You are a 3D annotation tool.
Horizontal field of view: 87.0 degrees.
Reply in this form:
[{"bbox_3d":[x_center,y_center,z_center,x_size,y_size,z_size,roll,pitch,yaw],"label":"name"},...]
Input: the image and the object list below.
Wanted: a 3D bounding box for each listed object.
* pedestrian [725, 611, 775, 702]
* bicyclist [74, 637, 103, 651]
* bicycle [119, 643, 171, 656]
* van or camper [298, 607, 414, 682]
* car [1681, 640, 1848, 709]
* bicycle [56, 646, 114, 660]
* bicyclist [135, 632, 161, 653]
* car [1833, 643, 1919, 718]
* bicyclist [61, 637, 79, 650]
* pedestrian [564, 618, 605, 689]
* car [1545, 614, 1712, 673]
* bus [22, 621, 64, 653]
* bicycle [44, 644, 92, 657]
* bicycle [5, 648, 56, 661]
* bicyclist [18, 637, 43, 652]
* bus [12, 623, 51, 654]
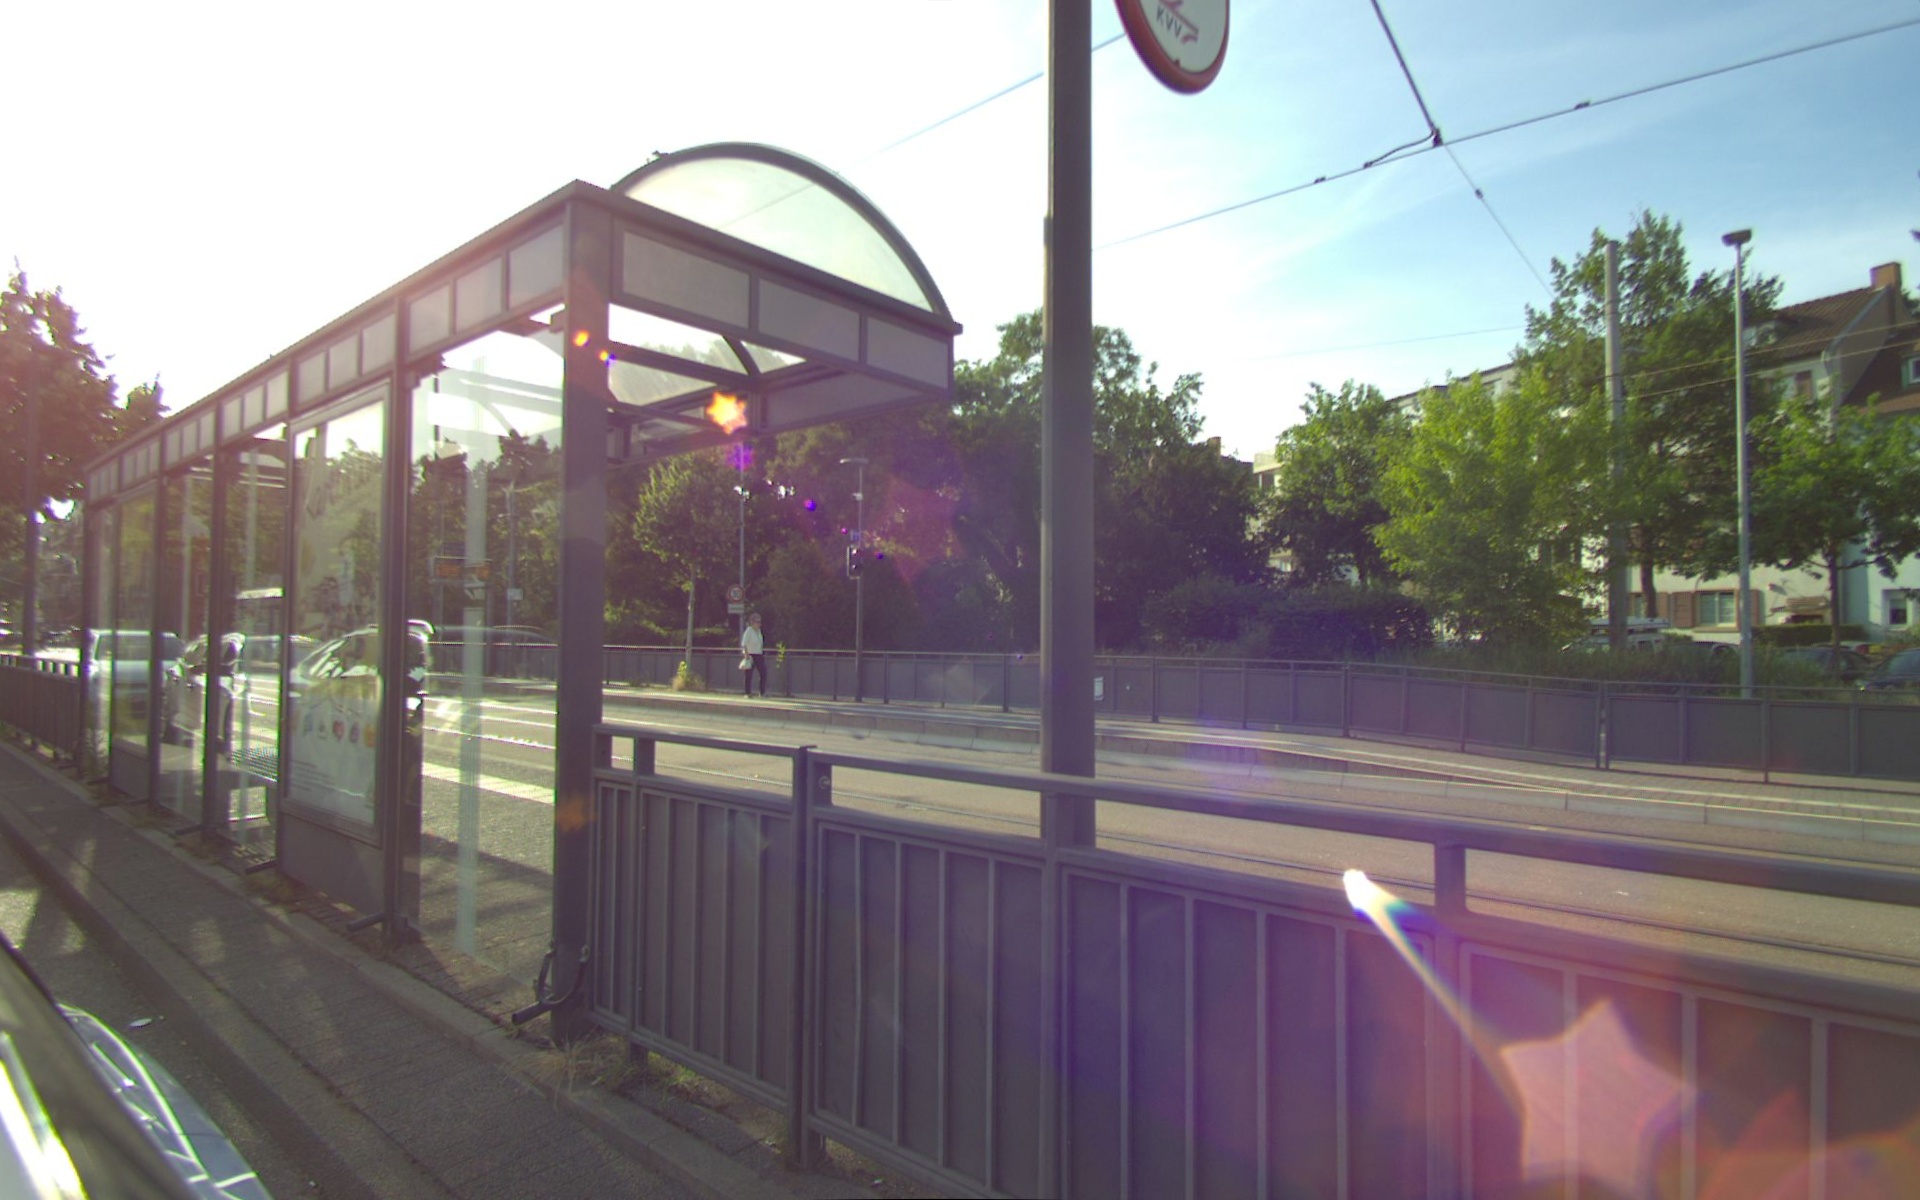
[{"bbox_3d":[-4.052,1.088,19.522,0.618,1.697,0.613,-2,-6,41],"label":"pedestrian"},{"bbox_3d":[-61.365,3.103,71.257,0.887,1.014,1.384,-2,-3,39],"label":"bicyclist"},{"bbox_3d":[-62.013,3.782,77.057,0.878,0.988,2.925,-2,-3,38],"label":"bicycle"},{"bbox_3d":[-26.274,1.832,43.882,6.408,2.990,2.494,-1,0,41],"label":"van or camper"},{"bbox_3d":[18.187,1.621,22.839,3.935,1.409,2.004,2,-3,-37],"label":"car"},{"bbox_3d":[-61.396,3.698,71.047,0.878,0.988,2.925,-2,-3,38],"label":"bicycle"},{"bbox_3d":[-61.928,3.256,77.179,0.887,1.559,1.384,-2,-3,39],"label":"bicyclist"},{"bbox_3d":[19.639,1.598,20.613,3.935,1.409,2.004,2,-3,-37],"label":"car"},{"bbox_3d":[-63.675,3.140,72.405,0.617,0.920,0.885,-2,-3,44],"label":"bicyclist"},{"bbox_3d":[-9.218,1.314,24.835,0.618,1.697,0.613,-2,-6,41],"label":"pedestrian"},{"bbox_3d":[18.112,1.194,27.442,3.930,1.497,1.854,1,-3,-22],"label":"car"},{"bbox_3d":[-102.739,4.090,113.334,9.258,3.461,2.405,-1,0,41],"label":"bus"},{"bbox_3d":[-63.743,3.614,72.307,0.631,0.888,2.502,-2,-3,44],"label":"bicycle"},{"bbox_3d":[-64.127,3.761,69.826,0.631,0.888,2.503,-2,-3,44],"label":"bicycle"},{"bbox_3d":[-64.131,3.079,69.843,0.671,1.032,1.200,-2,-3,44],"label":"bicyclist"},{"bbox_3d":[-109.685,4.519,119.467,9.258,3.461,2.405,-1,0,41],"label":"bus"}]
